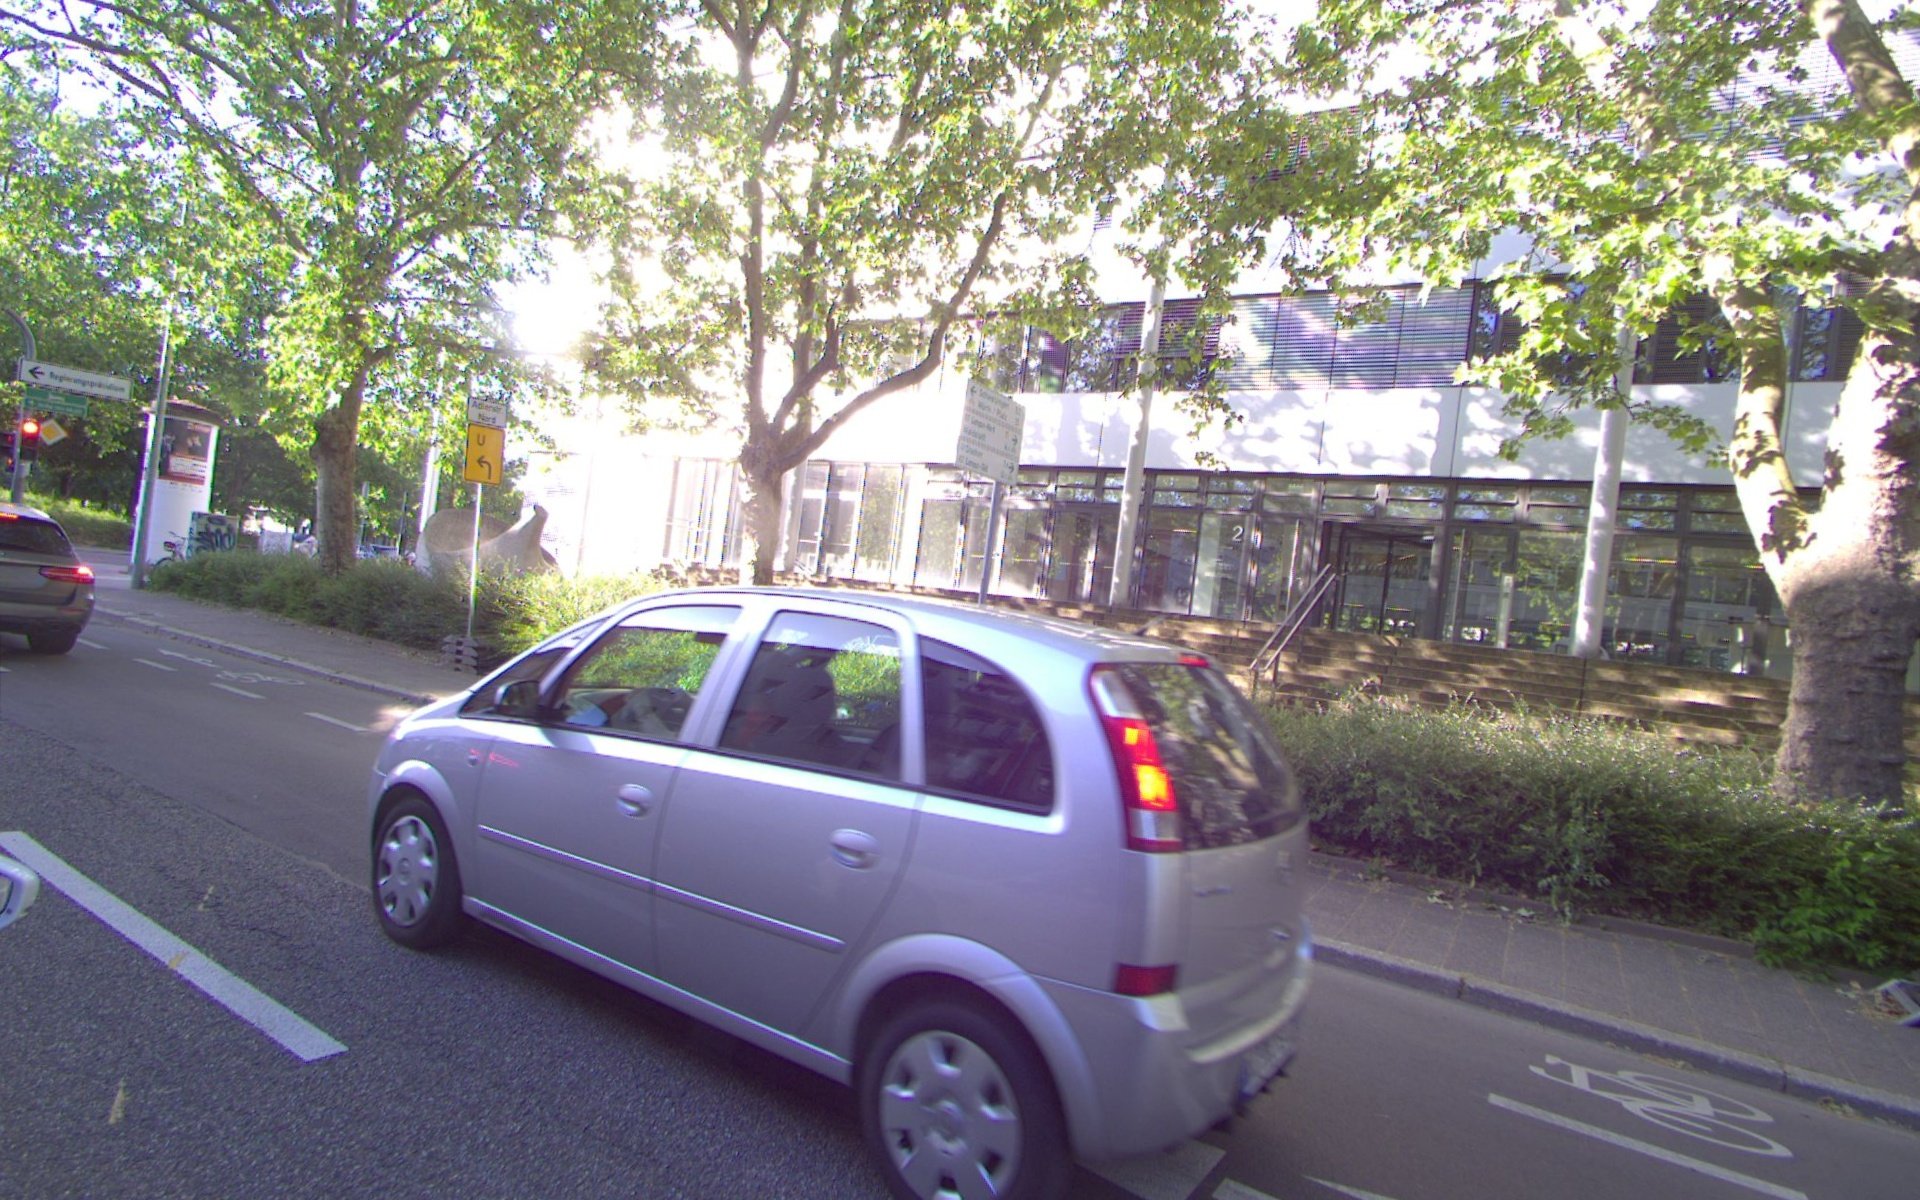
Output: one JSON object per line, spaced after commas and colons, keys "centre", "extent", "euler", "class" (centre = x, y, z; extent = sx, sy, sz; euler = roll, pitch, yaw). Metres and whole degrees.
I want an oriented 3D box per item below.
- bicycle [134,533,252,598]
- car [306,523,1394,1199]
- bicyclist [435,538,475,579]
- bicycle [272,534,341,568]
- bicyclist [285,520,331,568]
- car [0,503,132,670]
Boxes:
{"centre": [-15.932, -0.700, 20.943], "extent": [0.502, 1.110, 1.806], "euler": [7, -1, 34], "class": "bicycle"}
{"centre": [-0.606, 0.750, 3.862], "extent": [3.797, 1.621, 1.704], "euler": [7, -1, 34], "class": "car"}
{"centre": [-19.902, -1.628, 39.655], "extent": [0.647, 1.419, 1.104], "euler": [7, -1, 36], "class": "bicyclist"}
{"centre": [-23.490, -1.746, 36.196], "extent": [0.714, 0.893, 1.895], "euler": [7, -2, 35], "class": "bicycle"}
{"centre": [-23.458, -1.996, 36.185], "extent": [0.706, 1.537, 1.075], "euler": [7, 0, 36], "class": "bicyclist"}
{"centre": [-10.867, -0.376, 10.516], "extent": [4.592, 1.480, 1.918], "euler": [7, -3, 32], "class": "car"}
